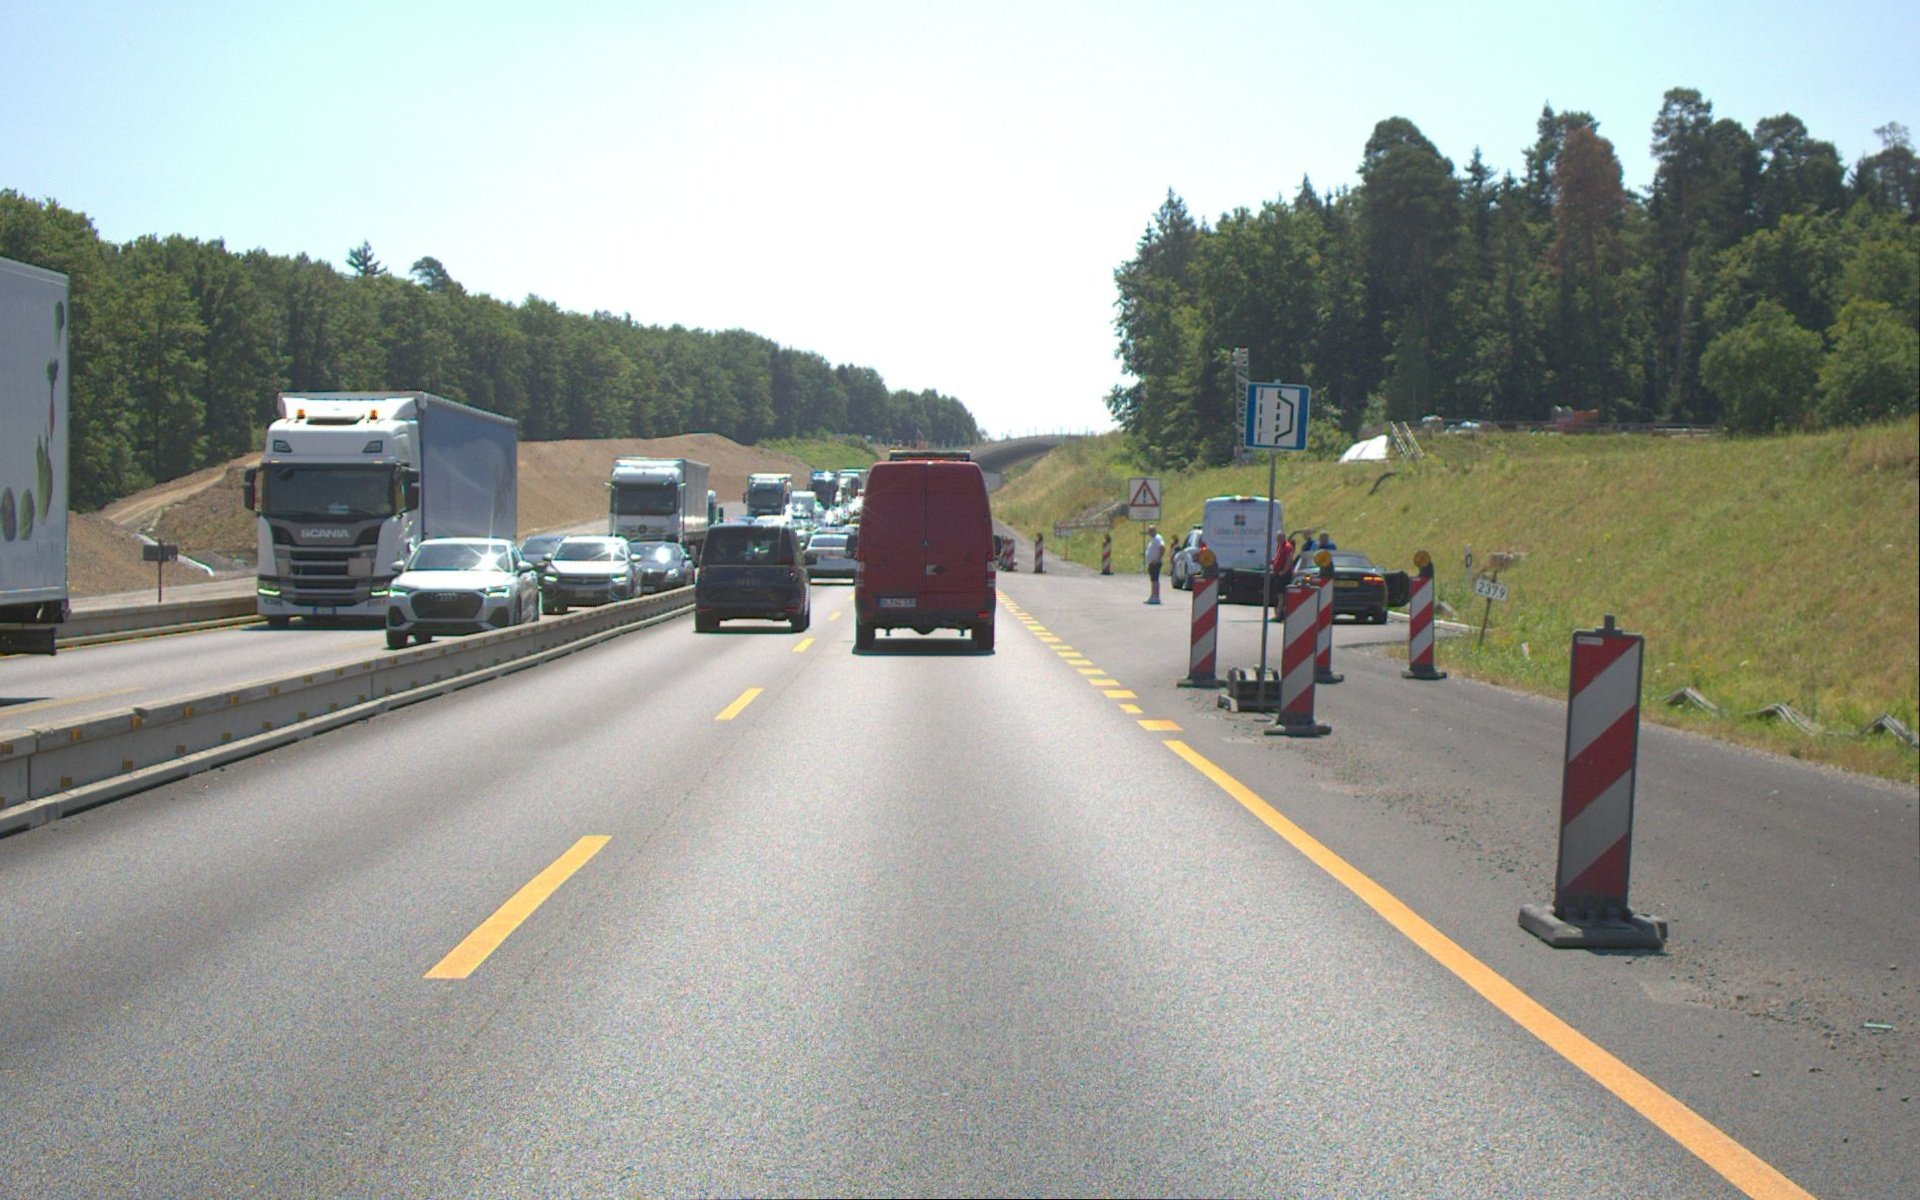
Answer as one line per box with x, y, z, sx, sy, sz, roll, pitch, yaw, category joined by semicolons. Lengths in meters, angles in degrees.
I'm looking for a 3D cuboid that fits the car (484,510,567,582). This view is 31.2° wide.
-11.691;-1.446;92.786;1.717;1.868;4.000;1;0;0;car

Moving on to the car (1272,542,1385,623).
7.092;-0.371;66.526;1.654;1.422;4.545;-2;1;0;car

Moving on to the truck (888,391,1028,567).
-0.131;-3.969;118.510;4.400;5.477;16.604;1;0;-1;truck

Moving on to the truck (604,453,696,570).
-10.985;-3.098;122.286;2.768;4.030;4.943;1;0;0;truck

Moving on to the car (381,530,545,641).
-7.076;-0.208;49.275;1.807;1.483;4.243;1;0;-1;car

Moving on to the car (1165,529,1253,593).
7.092;-1.143;98.357;1.774;1.671;4.856;1;2;-4;car

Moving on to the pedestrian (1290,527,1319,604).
8.077;-0.804;80.703;0.563;1.789;0.667;1;0;-2;pedestrian

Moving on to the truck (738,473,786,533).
-12.833;-6.252;223.263;2.509;3.604;9.641;1;0;0;truck

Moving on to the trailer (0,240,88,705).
-9.824;-1.049;25.951;2.502;4.165;15.534;-1;1;0;trailer

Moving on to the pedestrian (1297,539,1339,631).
7.241;-0.308;69.569;0.624;1.822;0.643;1;1;-12;pedestrian

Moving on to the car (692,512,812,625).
-3.485;-0.560;58.224;1.751;1.818;4.783;1;1;-1;car

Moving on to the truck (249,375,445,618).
-10.672;-1.789;60.266;2.591;4.039;5.150;1;1;-2;truck

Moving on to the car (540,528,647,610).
-7.365;-0.645;69.406;1.775;1.549;4.140;-2;1;-2;car

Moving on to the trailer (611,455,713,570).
-11.098;-3.279;129.172;2.790;4.061;13.712;1;1;-1;trailer

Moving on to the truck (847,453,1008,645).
-0.453;-0.710;49.494;2.153;2.581;5.333;1;0;0;truck

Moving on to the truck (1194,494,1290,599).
6.974;-1.348;84.604;2.130;2.448;5.924;1;1;6;truck

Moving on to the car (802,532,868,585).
-3.728;-1.226;102.825;1.831;1.517;3.961;1;0;-1;car

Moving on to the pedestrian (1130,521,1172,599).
4.505;-0.935;81.019;0.723;1.822;0.720;1;0;-20;pedestrian

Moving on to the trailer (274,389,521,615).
-10.792;-1.842;67.495;2.653;3.925;13.997;1;1;-1;trailer

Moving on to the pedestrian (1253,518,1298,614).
6.085;-0.656;66.351;0.640;1.822;0.559;1;1;-21;pedestrian

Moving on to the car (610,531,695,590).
-7.470;-0.943;83.954;1.729;1.382;4.861;1;0;-1;car
